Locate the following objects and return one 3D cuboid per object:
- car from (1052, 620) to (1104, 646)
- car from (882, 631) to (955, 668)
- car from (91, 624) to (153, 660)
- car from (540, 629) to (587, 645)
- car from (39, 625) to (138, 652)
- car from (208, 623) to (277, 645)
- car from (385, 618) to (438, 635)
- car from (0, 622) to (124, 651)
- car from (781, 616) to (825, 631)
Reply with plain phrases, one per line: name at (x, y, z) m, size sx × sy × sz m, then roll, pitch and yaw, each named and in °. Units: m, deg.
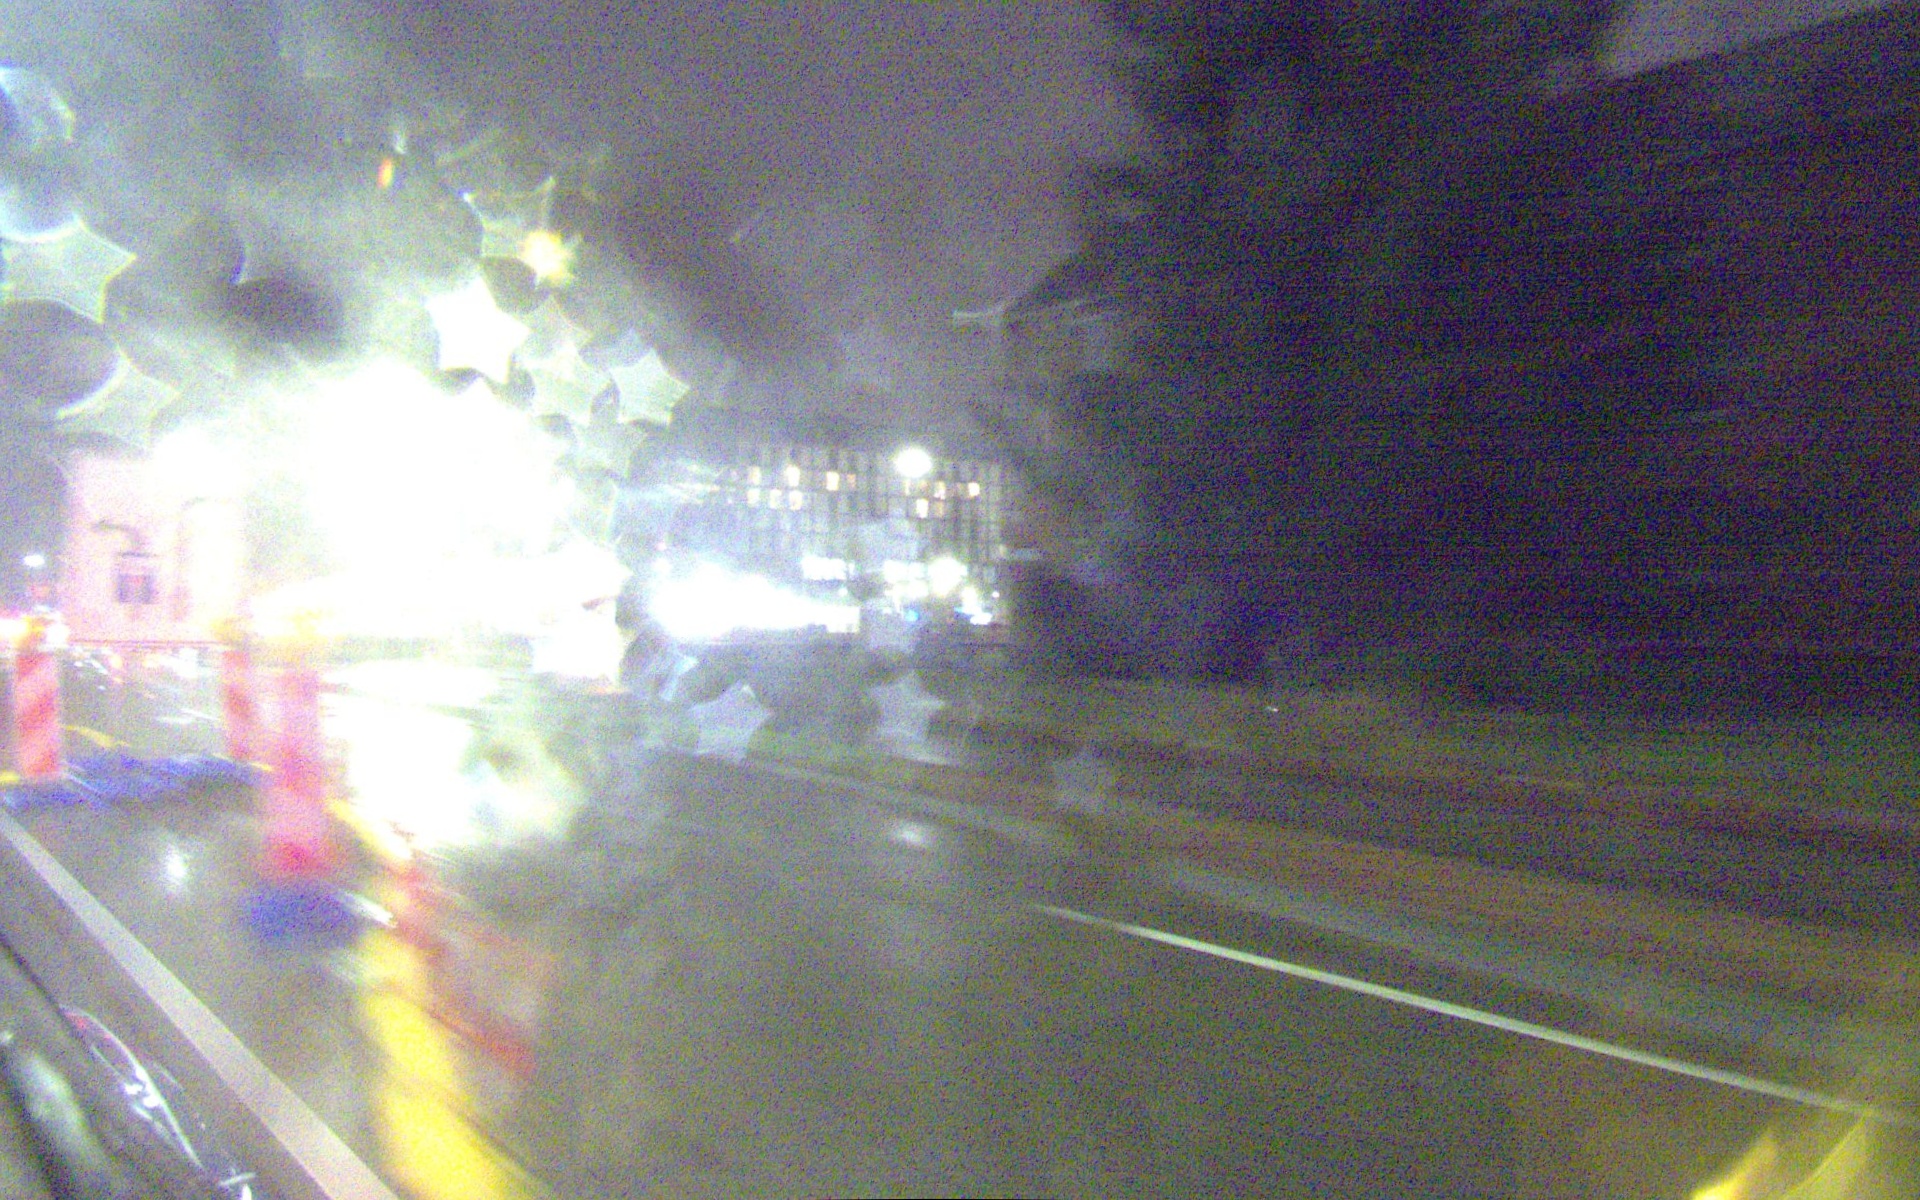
car at (9.240, 2.549, 79.345) m, size 2.293 × 1.749 × 4.327 m, roll 3°, pitch 0°, yaw -19°
car at (-1.687, 1.921, 39.919) m, size 1.510 × 1.345 × 3.833 m, roll 1°, pitch -1°, yaw -25°
car at (-39.016, 1.943, 47.067) m, size 1.969 × 1.466 × 4.309 m, roll 6°, pitch -5°, yaw -41°
car at (-41.232, 3.856, 105.227) m, size 4.354 × 1.634 × 2.006 m, roll 1°, pitch -2°, yaw -25°
car at (-53.580, 2.339, 62.309) m, size 1.984 × 1.544 × 4.160 m, roll 0°, pitch -1°, yaw 18°
car at (-52.126, 2.444, 73.603) m, size 1.972 × 1.545 × 4.184 m, roll 1°, pitch -1°, yaw 1°
car at (-52.830, 2.569, 97.582) m, size 4.351 × 1.545 × 2.007 m, roll 1°, pitch -2°, yaw -24°
car at (-48.626, 1.909, 54.644) m, size 1.989 × 1.477 × 5.055 m, roll -1°, pitch -1°, yaw 25°
car at (-17.155, 2.554, 110.445) m, size 4.354 × 1.634 × 2.007 m, roll 1°, pitch -2°, yaw -25°
